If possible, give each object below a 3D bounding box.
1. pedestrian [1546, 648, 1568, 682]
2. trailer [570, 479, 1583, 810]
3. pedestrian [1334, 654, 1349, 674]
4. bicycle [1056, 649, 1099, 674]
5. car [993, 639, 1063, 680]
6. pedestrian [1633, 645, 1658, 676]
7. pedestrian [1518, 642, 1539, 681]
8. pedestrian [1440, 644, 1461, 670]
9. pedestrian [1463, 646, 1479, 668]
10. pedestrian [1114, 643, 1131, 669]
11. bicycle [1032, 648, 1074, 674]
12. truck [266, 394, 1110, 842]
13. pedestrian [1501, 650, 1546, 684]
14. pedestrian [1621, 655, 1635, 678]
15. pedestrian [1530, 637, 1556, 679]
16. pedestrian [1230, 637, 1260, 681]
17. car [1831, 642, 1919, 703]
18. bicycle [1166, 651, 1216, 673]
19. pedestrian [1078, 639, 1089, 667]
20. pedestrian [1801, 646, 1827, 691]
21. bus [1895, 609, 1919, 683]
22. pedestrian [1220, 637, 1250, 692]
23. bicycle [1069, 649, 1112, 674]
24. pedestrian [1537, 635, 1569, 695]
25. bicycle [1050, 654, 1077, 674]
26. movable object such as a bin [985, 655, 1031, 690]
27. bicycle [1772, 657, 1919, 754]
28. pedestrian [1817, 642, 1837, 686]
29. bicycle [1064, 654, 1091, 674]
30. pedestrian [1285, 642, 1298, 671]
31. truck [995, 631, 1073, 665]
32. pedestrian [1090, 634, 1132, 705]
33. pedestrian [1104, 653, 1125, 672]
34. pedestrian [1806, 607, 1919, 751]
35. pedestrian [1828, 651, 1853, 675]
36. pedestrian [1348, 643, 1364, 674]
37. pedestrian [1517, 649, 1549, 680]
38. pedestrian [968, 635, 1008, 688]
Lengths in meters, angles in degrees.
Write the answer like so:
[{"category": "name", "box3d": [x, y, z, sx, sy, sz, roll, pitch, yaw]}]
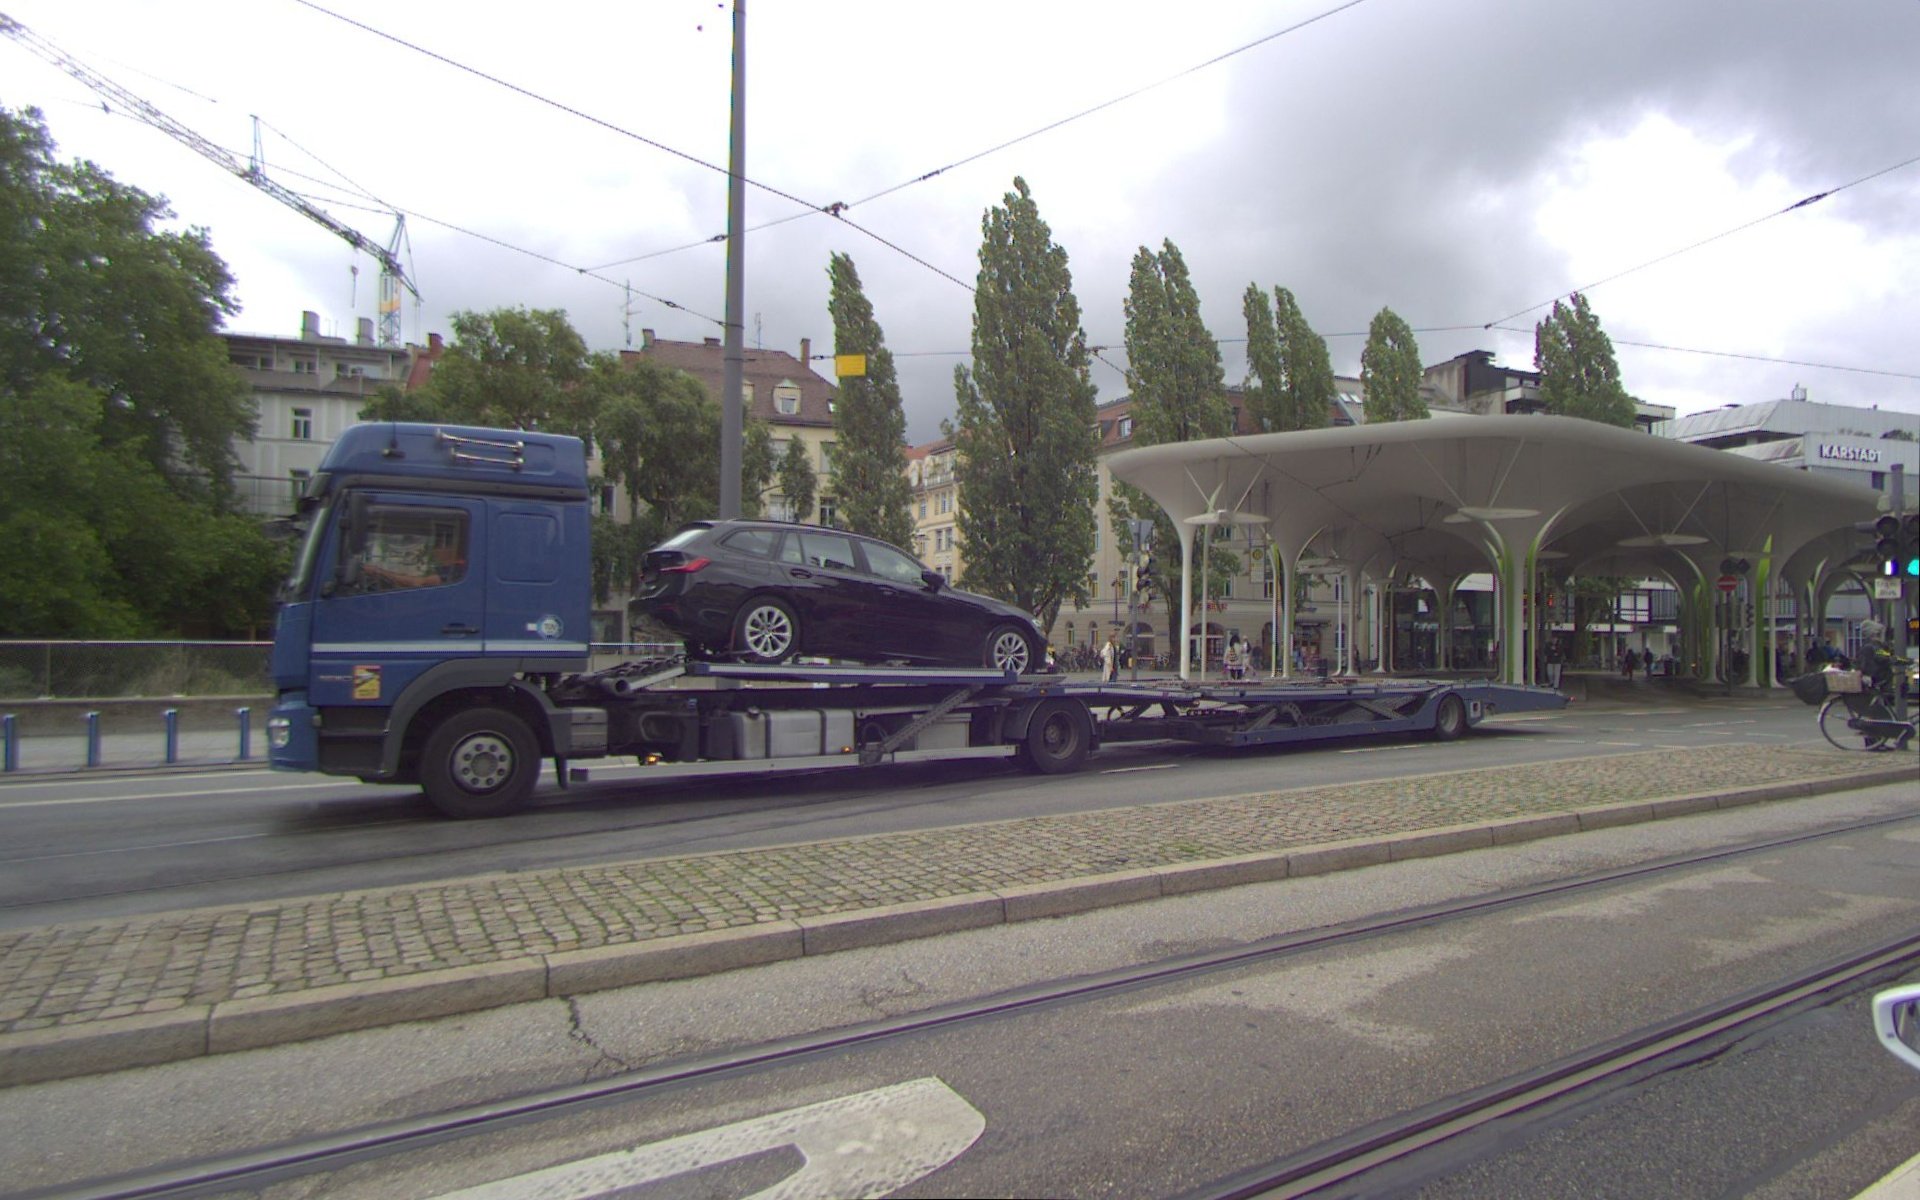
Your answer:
[{"category": "pedestrian", "box3d": [29.805, 3.239, 50.138, 0.691, 1.639, 0.644, 1, -2, -26]}, {"category": "trailer", "box3d": [3.129, 0.648, 13.572, 15.471, 2.717, 2.596, 2, -4, -33]}, {"category": "pedestrian", "box3d": [20.404, 3.426, 53.776, 0.573, 1.098, 0.513, 2, -3, -37]}, {"category": "bicycle", "box3d": [7.943, 4.150, 68.305, 0.989, 1.634, 3.598, 2, -2, -29]}, {"category": "car", "box3d": [2.869, 2.523, 43.066, 1.801, 1.636, 3.988, 1, -3, -15]}, {"category": "pedestrian", "box3d": [39.436, 3.493, 57.752, 0.885, 1.753, 0.867, 1, -3, -29]}, {"category": "pedestrian", "box3d": [23.171, 2.482, 40.950, 0.586, 1.565, 0.634, -1, -3, 43]}, {"category": "pedestrian", "box3d": [34.451, 3.977, 70.595, 0.981, 1.796, 0.931, 1, -2, -10]}, {"category": "pedestrian", "box3d": [39.388, 4.395, 77.425, 0.762, 1.683, 0.779, 1, -2, -20]}, {"category": "pedestrian", "box3d": [11.598, 4.007, 71.689, 0.792, 1.807, 0.951, 2, -2, -31]}, {"category": "bicycle", "box3d": [6.218, 4.095, 67.359, 0.989, 1.634, 3.598, 2, -2, -29]}, {"category": "truck", "box3d": [-2.240, 0.286, 10.126, 7.606, 3.127, 2.552, 2, -4, -32]}, {"category": "pedestrian", "box3d": [21.318, 2.529, 37.996, 1.248, 1.246, 0.811, 1, -2, -11]}, {"category": "pedestrian", "box3d": [38.187, 3.809, 57.400, 0.564, 1.282, 0.519, -1, -2, 26]}, {"category": "pedestrian", "box3d": [24.457, 2.428, 42.156, 0.799, 1.750, 0.668, -2, -3, 44]}, {"category": "pedestrian", "box3d": [13.565, 2.802, 47.805, 1.010, 2.040, 1.002, 1, -2, -14]}, {"category": "car", "box3d": [27.318, 2.072, 29.036, 4.625, 1.659, 1.854, 2, -4, -31]}, {"category": "bicycle", "box3d": [14.351, 3.840, 62.397, 2.886, 1.331, 0.841, 1, -2, -6]}, {"category": "pedestrian", "box3d": [8.918, 3.815, 72.670, 0.562, 2.040, 0.668, 0, -2, 29]}, {"category": "pedestrian", "box3d": [34.370, 2.742, 40.421, 0.875, 1.744, 0.707, 2, -3, -44]}, {"category": "bus", "box3d": [44.096, 1.996, 43.479, 10.400, 3.046, 2.647, 2, -4, -32]}, {"category": "pedestrian", "box3d": [8.311, 1.929, 30.392, 0.822, 1.630, 0.748, 0, -2, 13]}, {"category": "bicycle", "box3d": [8.927, 4.182, 68.796, 0.989, 1.634, 3.598, 2, -2, -29]}, {"category": "pedestrian", "box3d": [18.751, 2.048, 31.774, 0.652, 1.863, 0.811, 0, -2, 13]}, {"category": "bicycle", "box3d": [6.239, 3.853, 60.771, 0.726, 1.149, 2.677, 1, -2, -14]}, {"category": "movable object such as a bin", "box3d": [1.596, 2.396, 33.335, 0.947, 1.098, 1.325, 2, -2, -33]}, {"category": "bicycle", "box3d": [12.075, 1.380, 13.139, 2.192, 1.165, 0.505, 1, -1, 32]}, {"category": "pedestrian", "box3d": [35.939, 2.646, 41.641, 0.558, 1.766, 0.753, -1, -3, 39]}, {"category": "bicycle", "box3d": [7.151, 3.882, 61.179, 0.726, 1.149, 2.677, 1, -2, -14]}, {"category": "pedestrian", "box3d": [20.549, 3.502, 62.322, 0.546, 1.838, 0.556, 1, -2, -18]}, {"category": "truck", "box3d": [5.599, 3.661, 77.148, 2.412, 2.545, 7.126, 2, -3, -30]}, {"category": "pedestrian", "box3d": [3.621, 1.653, 24.110, 0.728, 1.650, 0.740, -1, -2, 39]}, {"category": "pedestrian", "box3d": [9.586, 3.881, 62.288, 0.606, 1.097, 1.835, 1, -2, -16]}, {"category": "pedestrian", "box3d": [12.015, 1.033, 13.336, 0.883, 1.835, 0.857, 2, -1, -18]}, {"category": "pedestrian", "box3d": [51.542, 3.691, 58.812, 0.822, 1.334, 0.880, 0, -2, 17]}, {"category": "pedestrian", "box3d": [21.398, 3.160, 54.300, 0.635, 1.669, 0.596, 2, -2, -37]}, {"category": "pedestrian", "box3d": [25.993, 2.916, 45.540, 0.829, 1.388, 0.961, 1, -2, -23]}, {"category": "pedestrian", "box3d": [0.958, 2.096, 34.341, 0.947, 1.785, 1.023, 2, -2, -33]}]
